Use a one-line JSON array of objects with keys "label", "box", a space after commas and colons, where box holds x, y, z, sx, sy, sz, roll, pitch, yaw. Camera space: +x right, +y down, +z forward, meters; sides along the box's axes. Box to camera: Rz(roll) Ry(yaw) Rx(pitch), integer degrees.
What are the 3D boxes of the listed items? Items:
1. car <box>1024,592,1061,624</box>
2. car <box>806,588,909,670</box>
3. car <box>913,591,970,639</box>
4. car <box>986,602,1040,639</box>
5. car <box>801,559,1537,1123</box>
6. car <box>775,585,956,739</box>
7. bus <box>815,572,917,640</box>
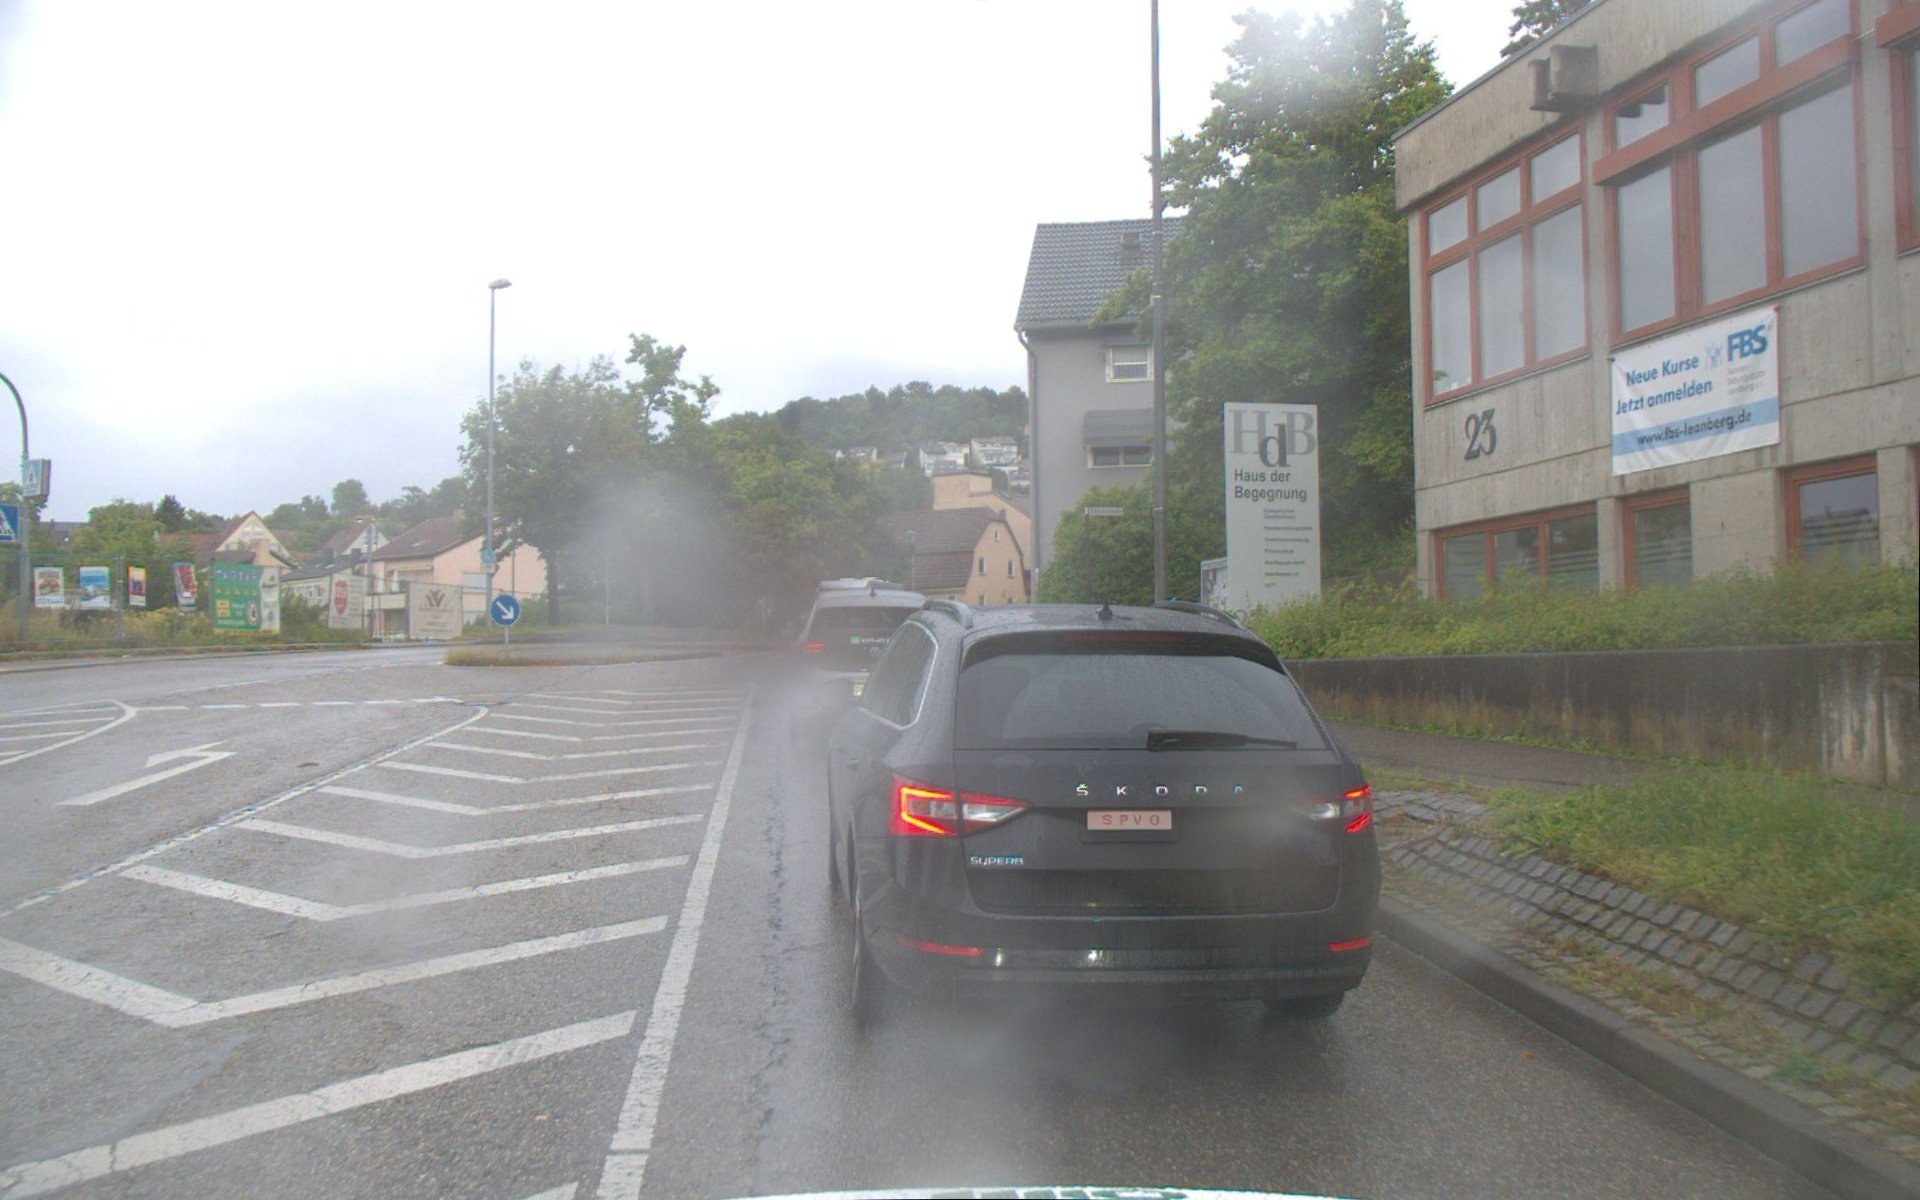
[{"label": "car", "box": [5.499, 0.529, 110.462, 1.954, 2.049, 3.996, 1, -1, -5]}, {"label": "car", "box": [-1.955, 0.533, 31.185, 1.811, 1.434, 4.297, 0, -1, -4]}, {"label": "car", "box": [-0.586, 0.464, 55.844, 1.534, 1.557, 4.002, 0, 0, 5]}, {"label": "car", "box": [2.354, 0.877, 72.465, 1.951, 1.478, 3.774, -3, -1, 8]}, {"label": "car", "box": [0.404, 0.713, 6.931, 1.917, 1.534, 4.600, 2, -1, -8]}, {"label": "car", "box": [-1.007, 0.645, 18.512, 1.792, 1.526, 4.166, 0, -1, -2]}, {"label": "bus", "box": [-3.888, 0.215, 70.295, 2.345, 2.723, 7.053, -1, 0, 14]}]
